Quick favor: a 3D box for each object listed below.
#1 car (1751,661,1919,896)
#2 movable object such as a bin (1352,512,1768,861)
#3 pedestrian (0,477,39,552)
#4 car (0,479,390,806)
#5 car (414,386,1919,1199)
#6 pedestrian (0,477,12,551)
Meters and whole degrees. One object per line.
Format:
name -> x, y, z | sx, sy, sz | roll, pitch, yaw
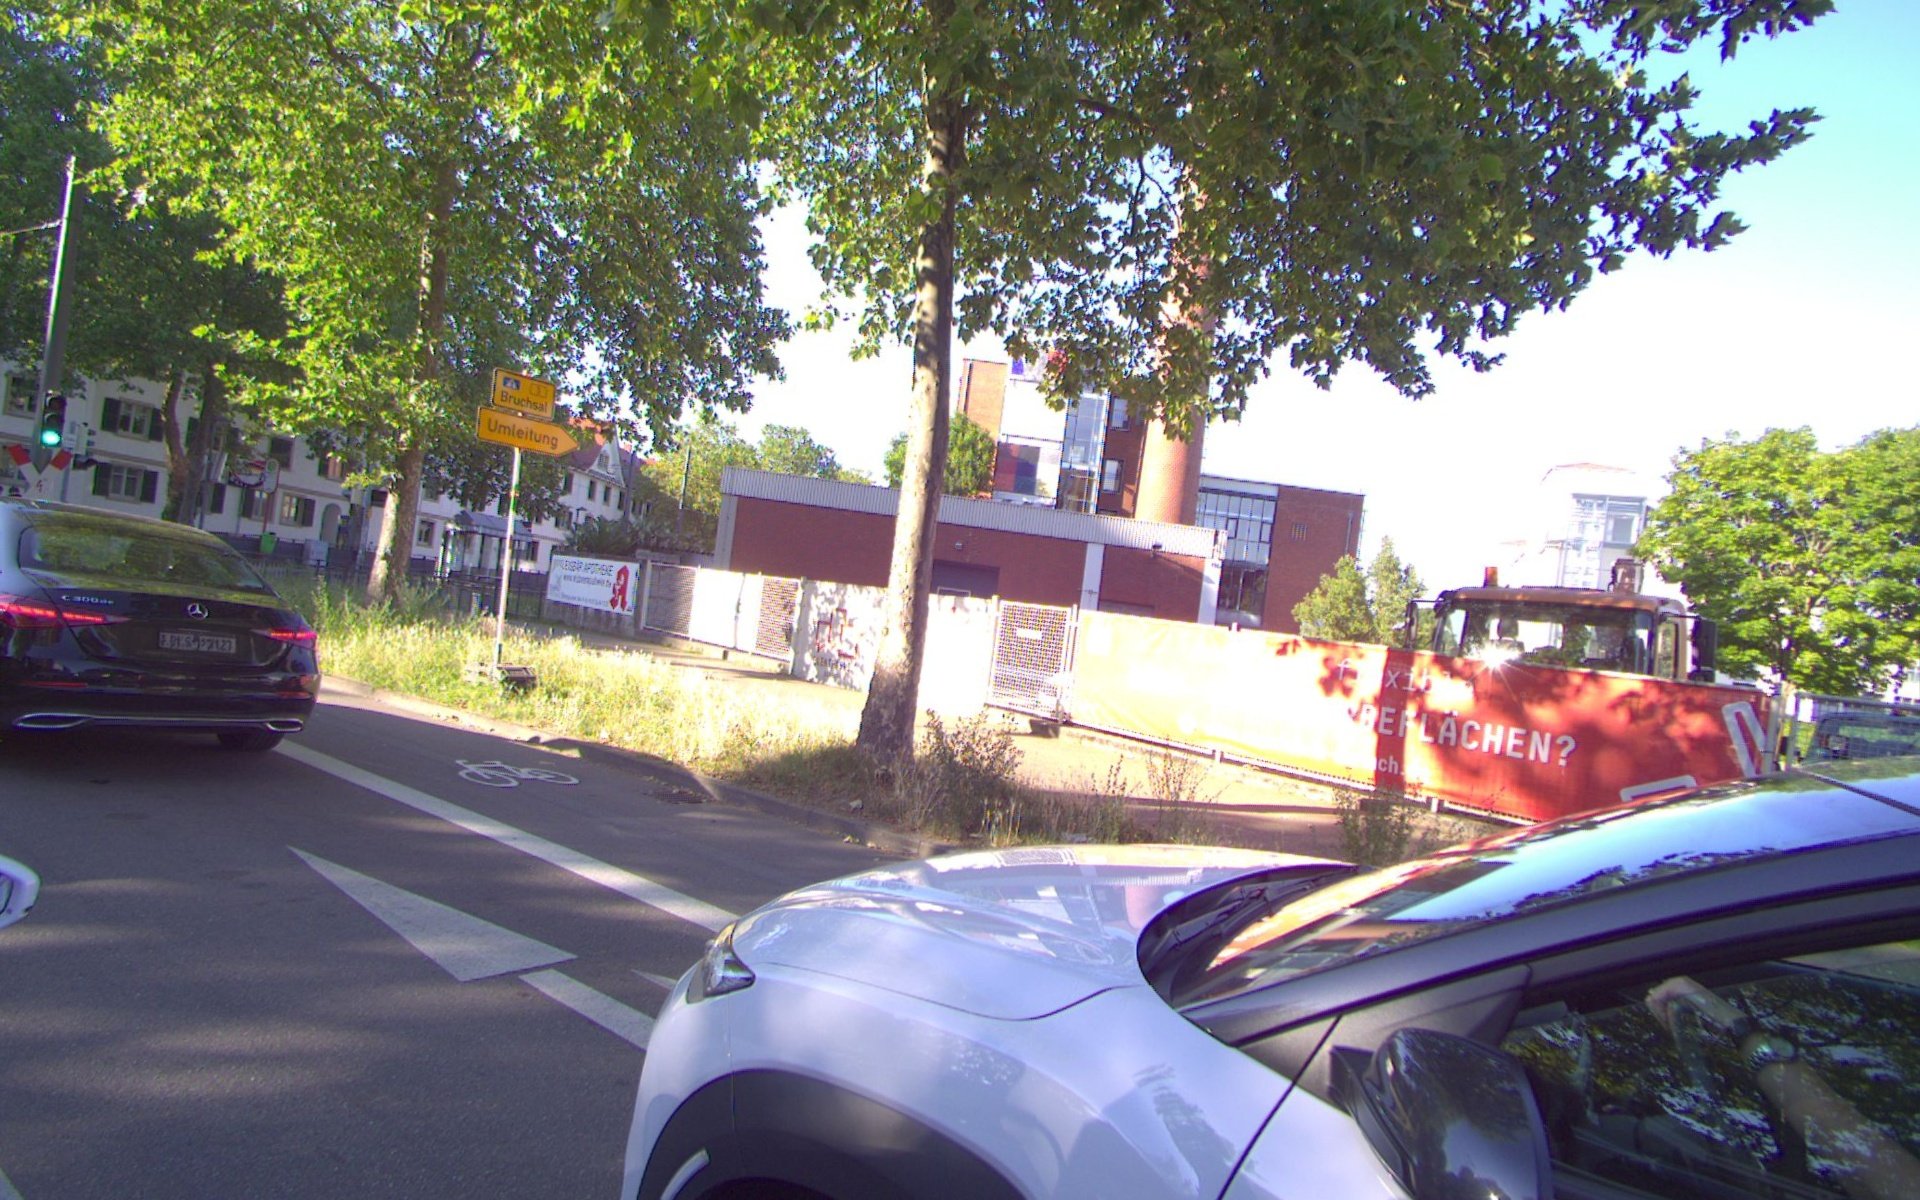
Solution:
car -> 9.601, 1.817, 10.130 | 2.016, 1.849, 4.583 | 6, -3, 44
movable object such as a bin -> 7.671, 1.030, 12.388 | 3.172, 3.084, 6.266 | 6, -2, 41
pedestrian -> -26.498, -2.393, 28.114 | 0.825, 1.940, 0.707 | 6, -1, 28
car -> -5.995, 0.054, 6.691 | 4.308, 1.508, 1.893 | 9, -1, 32
car -> 1.290, 0.800, 1.380 | 3.901, 1.616, 1.893 | 9, -1, 33
pedestrian -> -26.095, -2.359, 26.894 | 0.825, 1.940, 0.707 | 6, -1, 28
